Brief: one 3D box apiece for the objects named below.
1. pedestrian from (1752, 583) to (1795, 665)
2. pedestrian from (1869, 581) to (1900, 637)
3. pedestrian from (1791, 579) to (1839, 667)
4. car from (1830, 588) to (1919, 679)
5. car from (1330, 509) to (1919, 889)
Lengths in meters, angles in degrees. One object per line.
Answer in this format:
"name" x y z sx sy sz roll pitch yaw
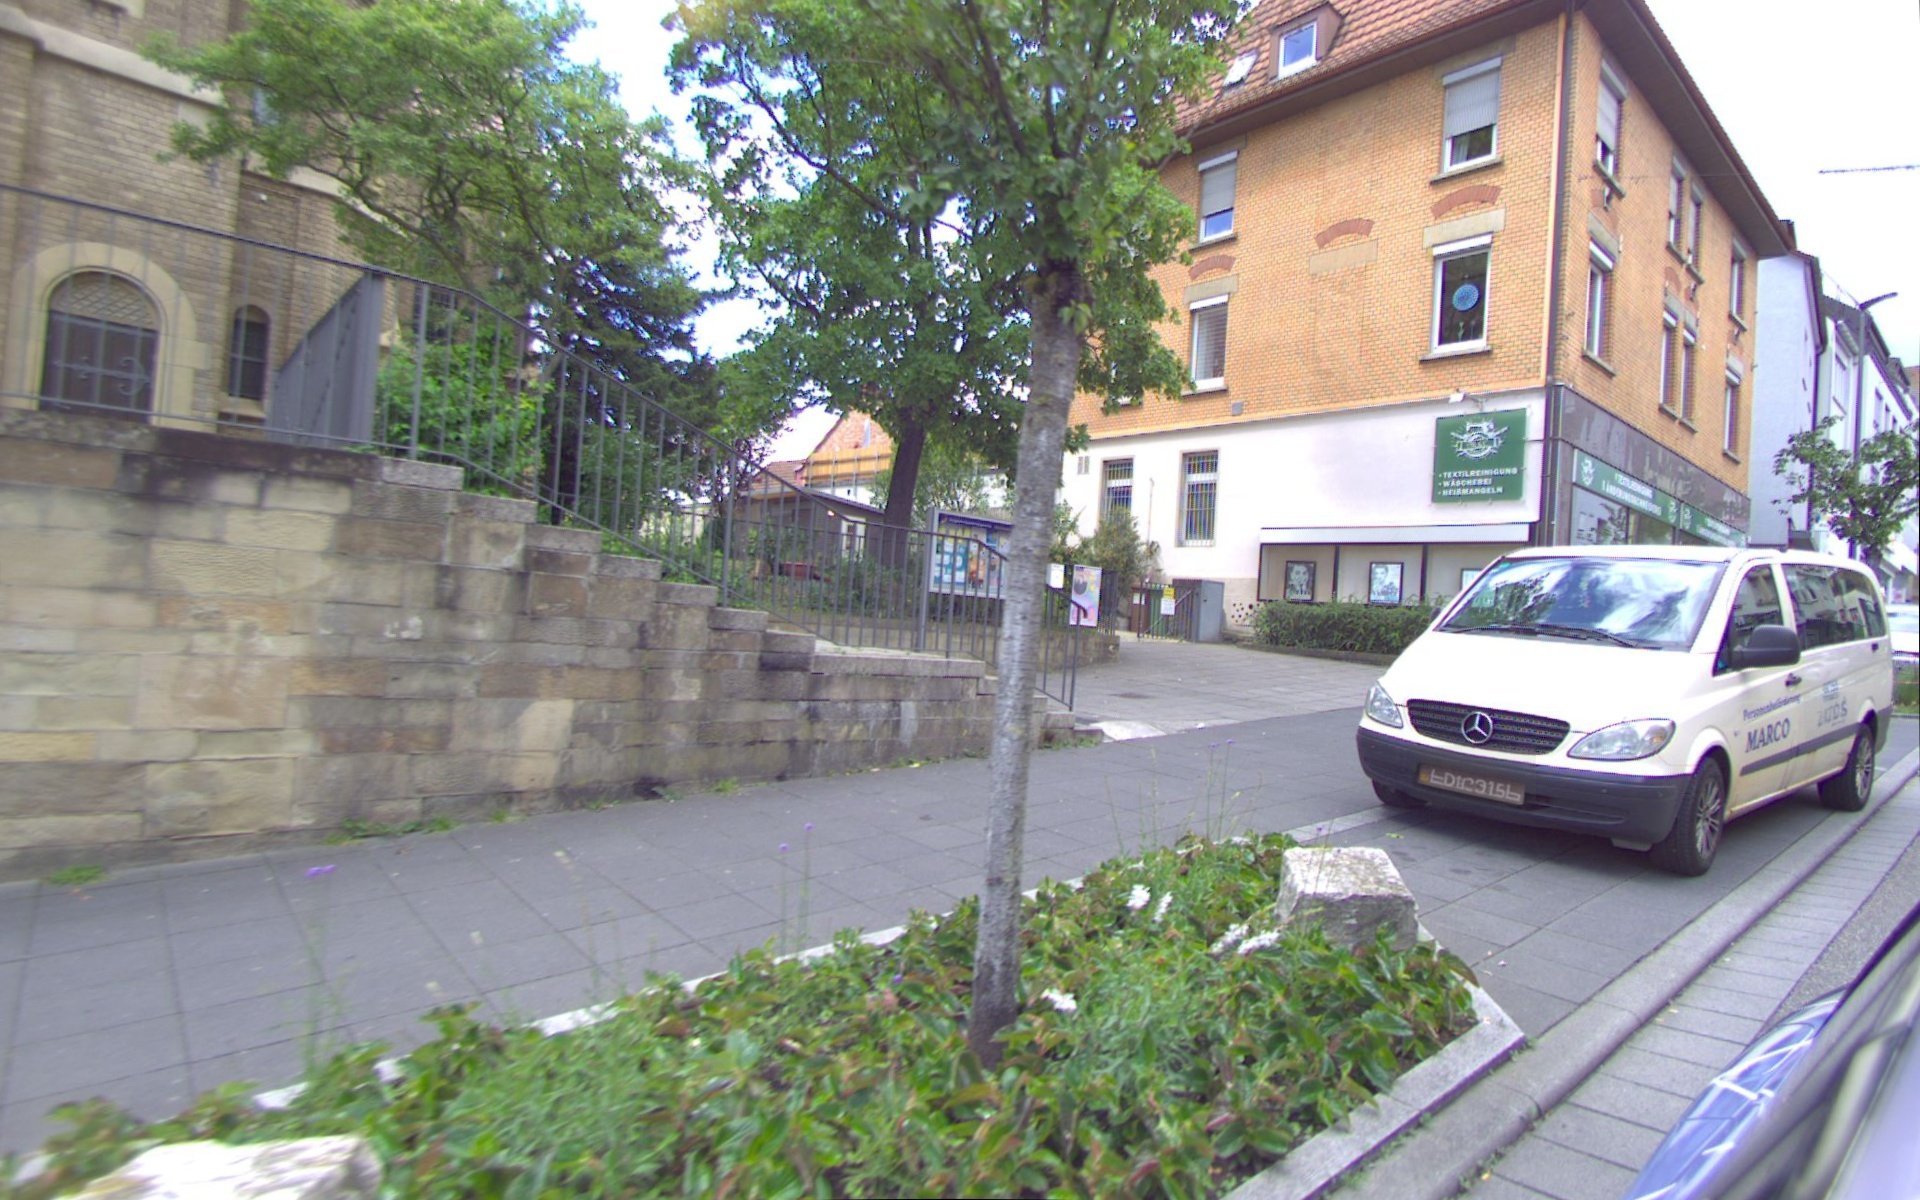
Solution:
"pedestrian" 15.899 0.452 19.786 0.554 1.539 0.584 5 4 40
"pedestrian" 26.600 0.243 29.128 0.565 1.558 0.518 5 4 42
"pedestrian" 16.467 0.431 19.498 0.564 1.622 0.519 4 3 36
"car" 17.471 0.579 18.476 3.877 1.465 1.815 0 4 -42
"car" 4.955 0.456 7.192 4.935 1.870 1.891 0 2 -36
